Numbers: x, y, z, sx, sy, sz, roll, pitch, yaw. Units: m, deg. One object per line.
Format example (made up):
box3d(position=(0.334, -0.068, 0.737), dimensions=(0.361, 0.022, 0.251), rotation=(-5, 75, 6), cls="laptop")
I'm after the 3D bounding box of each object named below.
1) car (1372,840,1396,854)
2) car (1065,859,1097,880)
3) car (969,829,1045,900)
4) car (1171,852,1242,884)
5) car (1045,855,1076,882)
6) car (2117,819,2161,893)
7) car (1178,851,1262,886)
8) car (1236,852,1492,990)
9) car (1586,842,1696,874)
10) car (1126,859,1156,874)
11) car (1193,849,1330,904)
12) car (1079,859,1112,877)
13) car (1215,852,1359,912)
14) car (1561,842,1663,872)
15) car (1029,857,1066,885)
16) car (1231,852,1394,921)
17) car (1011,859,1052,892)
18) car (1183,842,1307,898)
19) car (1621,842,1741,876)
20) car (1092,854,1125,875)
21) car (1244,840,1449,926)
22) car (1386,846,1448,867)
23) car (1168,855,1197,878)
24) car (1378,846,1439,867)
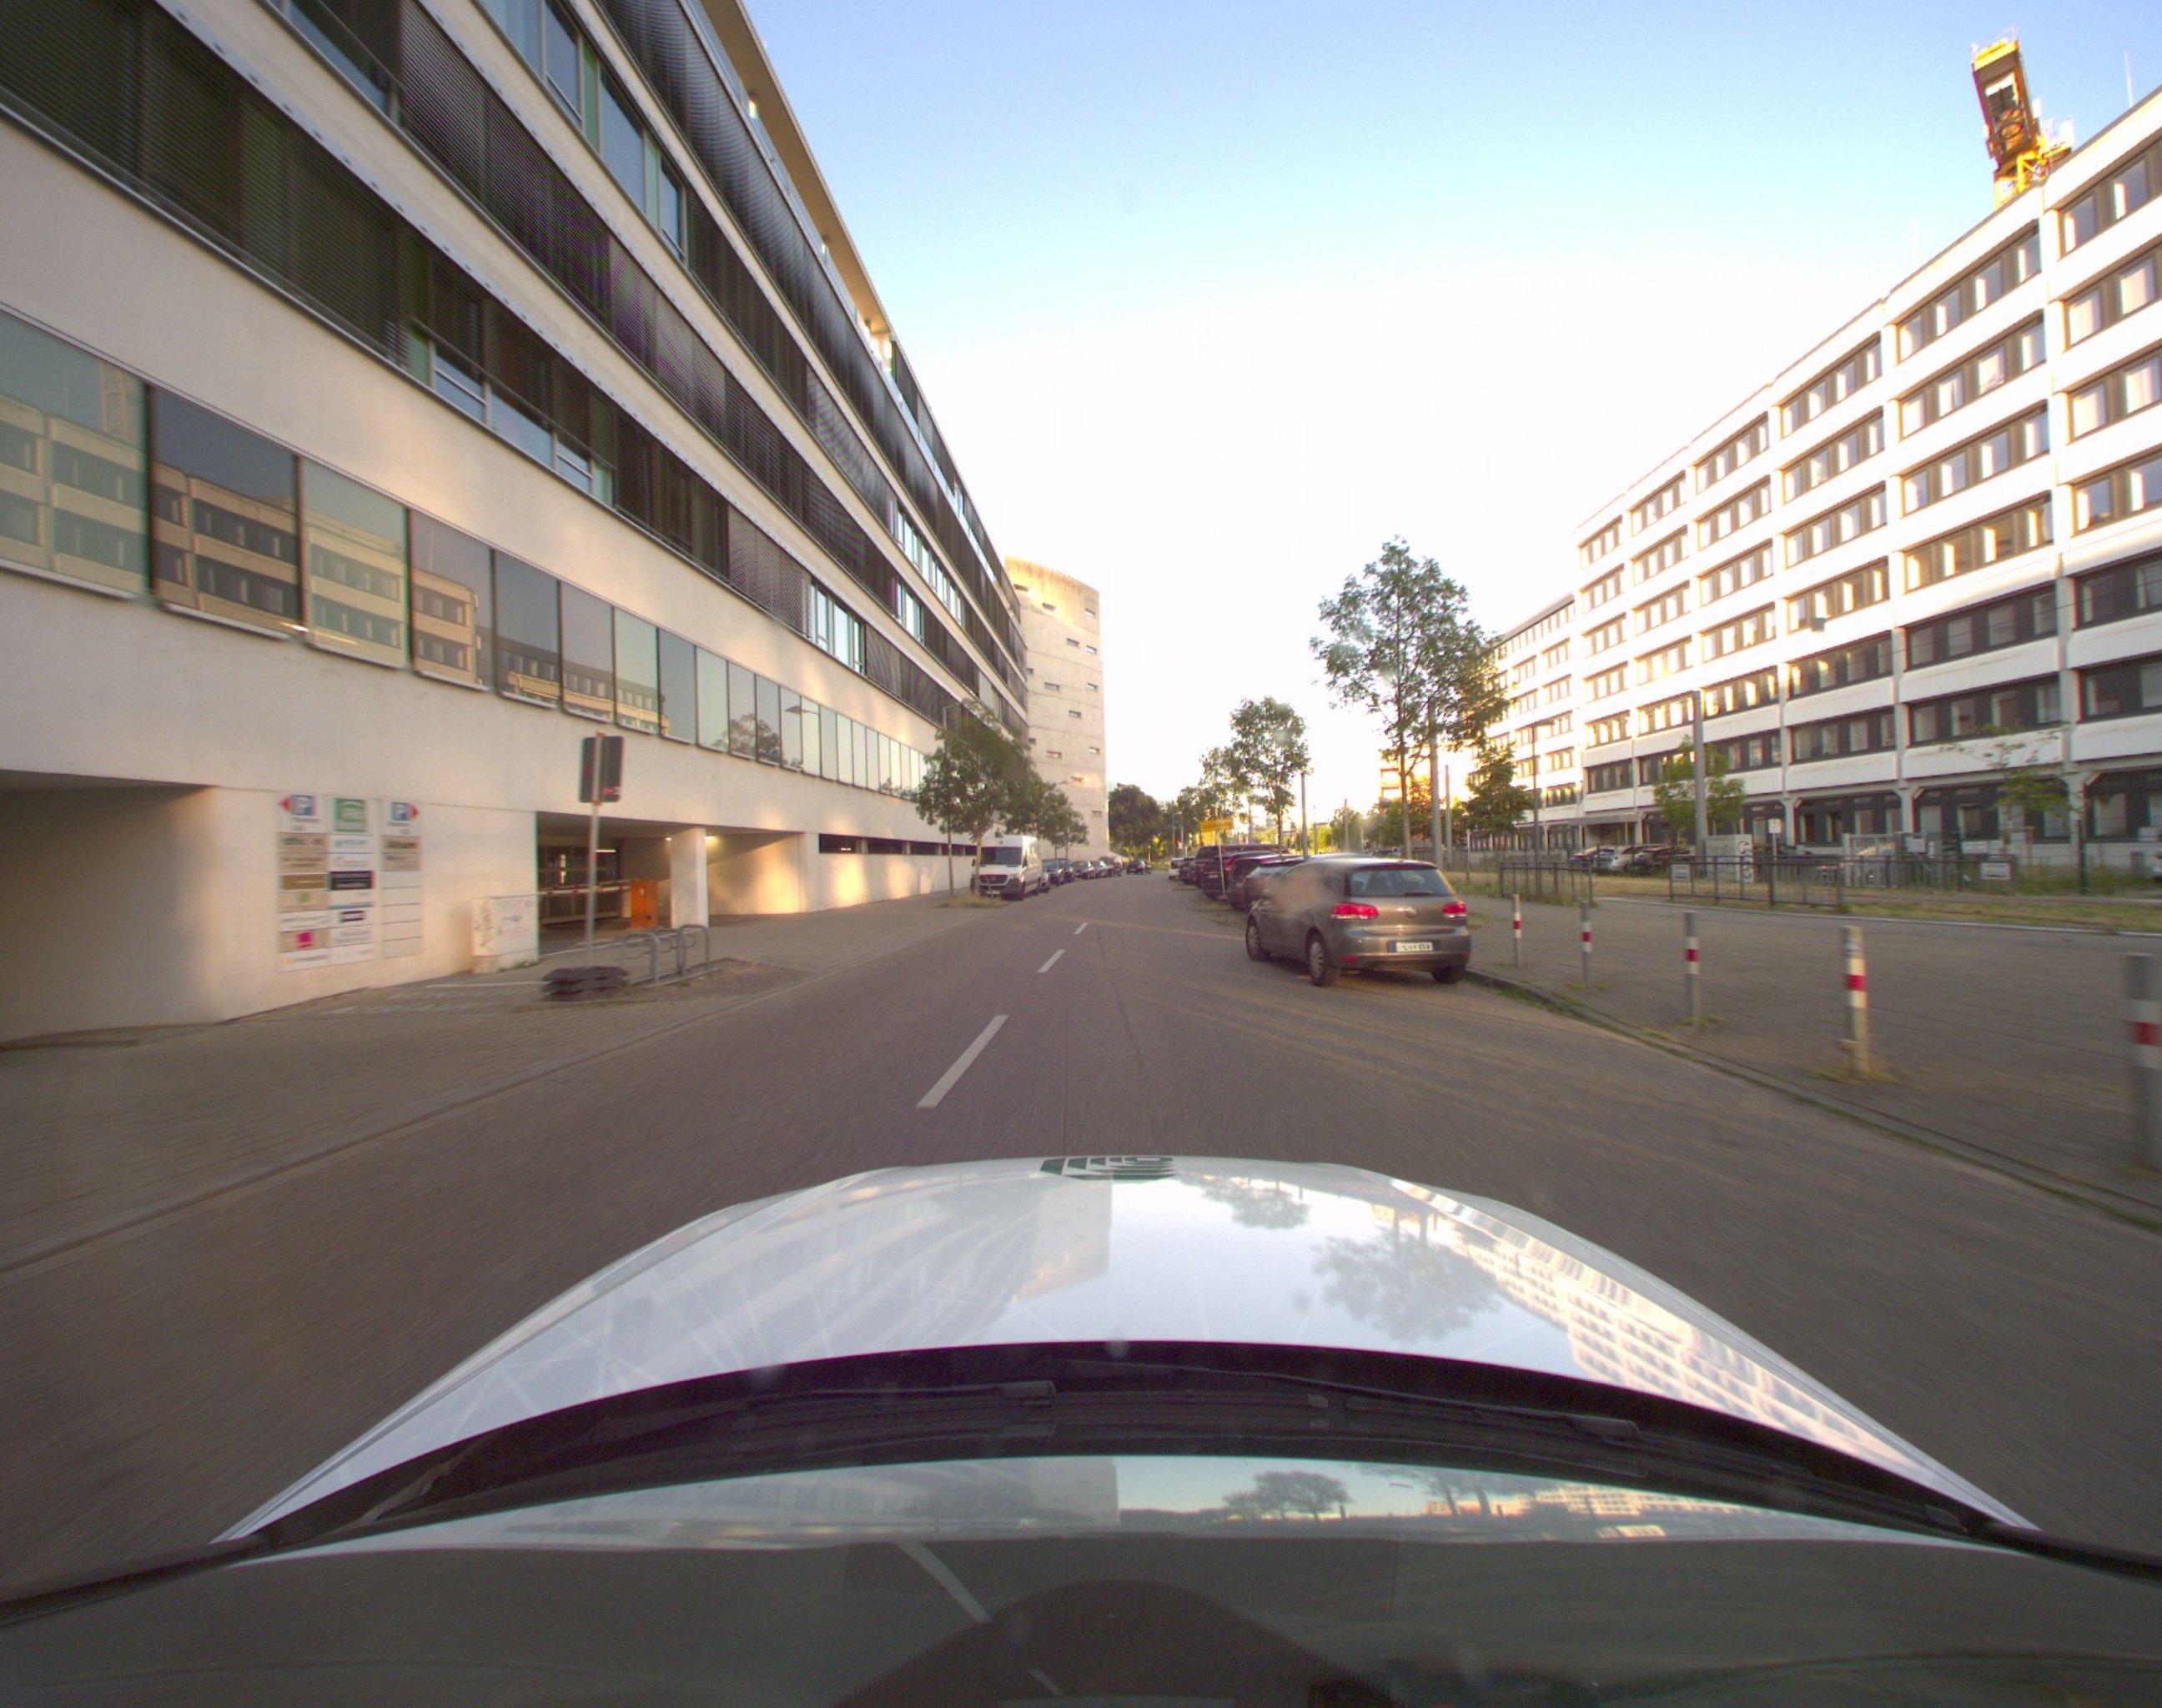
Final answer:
box3d(position=(58.524, -1.309, 157.525), dimensions=(4.115, 2.584, 1.713), rotation=(-2, -1, 25), cls="car")
box3d(position=(0.016, 1.158, 62.734), dimensions=(1.711, 1.457, 4.284), rotation=(0, 0, 10), cls="car")
box3d(position=(-2.883, 0.359, 33.339), dimensions=(1.949, 2.617, 6.901), rotation=(0, 0, 4), cls="car")
box3d(position=(7.164, 0.779, 46.494), dimensions=(3.789, 1.725, 1.747), rotation=(0, 0, -29), cls="car")
box3d(position=(-1.328, 0.937, 54.398), dimensions=(1.748, 1.653, 3.952), rotation=(0, 0, 3), cls="car")
box3d(position=(24.576, -0.066, 16.787), dimensions=(3.971, 1.513, 1.825), rotation=(-4, 0, 2), cls="car")
box3d(position=(7.457, 0.771, 43.784), dimensions=(3.992, 1.640, 1.957), rotation=(-3, -1, -24), cls="car")
box3d(position=(3.429, 0.746, 10.741), dimensions=(1.728, 1.466, 3.993), rotation=(0, -1, -5), cls="car")
box3d(position=(25.932, 0.175, 37.807), dimensions=(3.971, 1.398, 1.593), rotation=(1, 0, 2), cls="car")
box3d(position=(6.133, 1.231, 83.167), dimensions=(1.928, 1.382, 4.421), rotation=(0, 0, 20), cls="car")
box3d(position=(6.265, 0.722, 28.202), dimensions=(4.617, 1.749, 1.853), rotation=(0, 0, -30), cls="car")
box3d(position=(1.218, 1.149, 68.148), dimensions=(1.710, 1.457, 4.712), rotation=(0, 0, 14), cls="car")
box3d(position=(5.912, 0.771, 23.281), dimensions=(4.014, 1.595, 1.719), rotation=(1, -1, -32), cls="car")
box3d(position=(26.150, 0.150, 40.165), dimensions=(3.971, 1.398, 1.593), rotation=(1, 0, 2), cls="car")
box3d(position=(-1.930, 0.982, 48.177), dimensions=(1.748, 1.561, 4.048), rotation=(0, 0, 4), cls="car")
box3d(position=(5.803, 0.750, 20.277), dimensions=(4.016, 1.465, 1.718), rotation=(-1, -1, -34), cls="car")
box3d(position=(-2.343, 1.006, 39.312), dimensions=(1.750, 1.439, 3.900), rotation=(0, 0, -1), cls="car")
box3d(position=(6.317, 0.569, 31.294), dimensions=(4.617, 2.035, 1.853), rotation=(0, 0, -30), cls="car")
box3d(position=(25.869, 0.216, 35.200), dimensions=(3.971, 1.398, 1.593), rotation=(1, 0, 2), cls="car")
box3d(position=(2.506, 0.955, 73.246), dimensions=(1.743, 1.798, 4.485), rotation=(0, 0, 19), cls="car")
box3d(position=(5.624, 0.566, 17.153), dimensions=(4.014, 1.520, 1.908), rotation=(-2, -1, -32), cls="car")
box3d(position=(27.811, 0.224, 67.490), dimensions=(4.476, 1.602, 1.695), rotation=(-2, -1, 3), cls="car")
box3d(position=(7.265, 0.882, 57.955), dimensions=(1.711, 1.467, 3.564), rotation=(-2, 0, 12), cls="car")
box3d(position=(28.079, 0.230, 69.931), dimensions=(4.476, 1.602, 1.695), rotation=(-2, -1, 3), cls="car")
